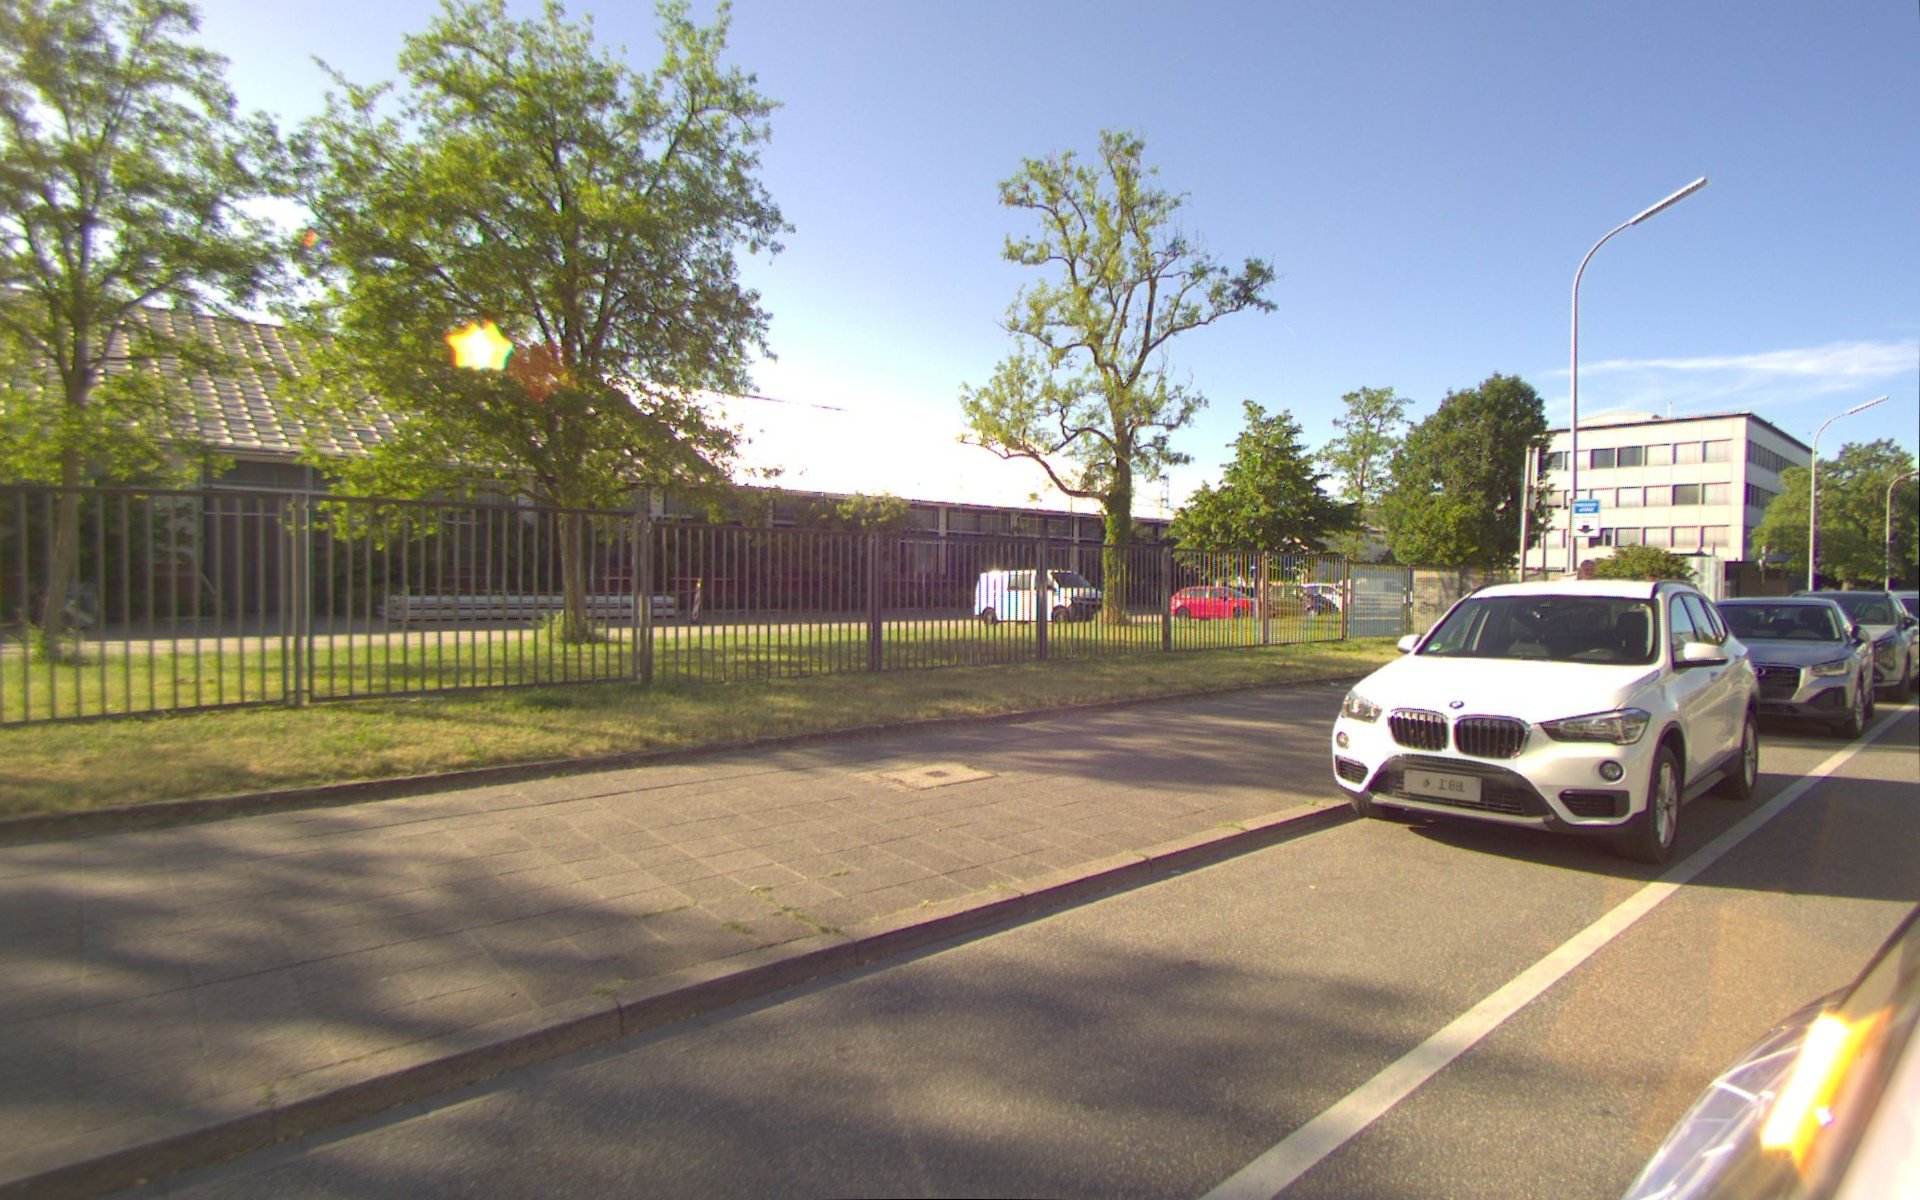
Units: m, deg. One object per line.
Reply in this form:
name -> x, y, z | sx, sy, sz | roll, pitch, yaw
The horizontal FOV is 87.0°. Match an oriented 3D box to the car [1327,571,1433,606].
car -> 21.499, -0.604, 51.935 | 4.629, 1.689, 1.969 | 2, 2, 44

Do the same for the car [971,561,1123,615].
car -> 2.838, -0.376, 33.978 | 2.061, 1.665, 4.969 | 0, 0, -44

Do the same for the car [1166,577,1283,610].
car -> 10.431, -0.242, 40.081 | 1.798, 1.268, 4.145 | 0, 0, -44

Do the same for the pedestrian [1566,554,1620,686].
pedestrian -> 8.538, 0.261, 13.650 | 0.520, 1.730, 0.515 | -1, 0, 42

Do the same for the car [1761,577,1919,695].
car -> 14.191, 0.483, 15.980 | 4.278, 1.626, 1.703 | 0, 0, -42

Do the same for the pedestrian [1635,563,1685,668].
pedestrian -> 11.206, 0.236, 16.190 | 0.539, 1.632, 0.672 | -1, 0, 44

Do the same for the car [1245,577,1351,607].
car -> 15.074, -0.348, 45.259 | 1.848, 1.268, 4.145 | 0, 0, -44

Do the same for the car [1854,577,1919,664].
car -> 20.980, 0.400, 22.067 | 4.625, 1.744, 1.811 | 0, 0, -43

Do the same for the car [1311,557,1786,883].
car -> 4.326, 0.581, 7.119 | 4.191, 1.608, 1.814 | 0, 0, -44

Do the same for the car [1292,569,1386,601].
car -> 18.036, -0.738, 48.281 | 1.648, 1.397, 3.892 | 0, 2, -44

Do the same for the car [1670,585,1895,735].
car -> 9.989, 0.590, 12.189 | 3.915, 1.506, 1.701 | 0, 0, -45
